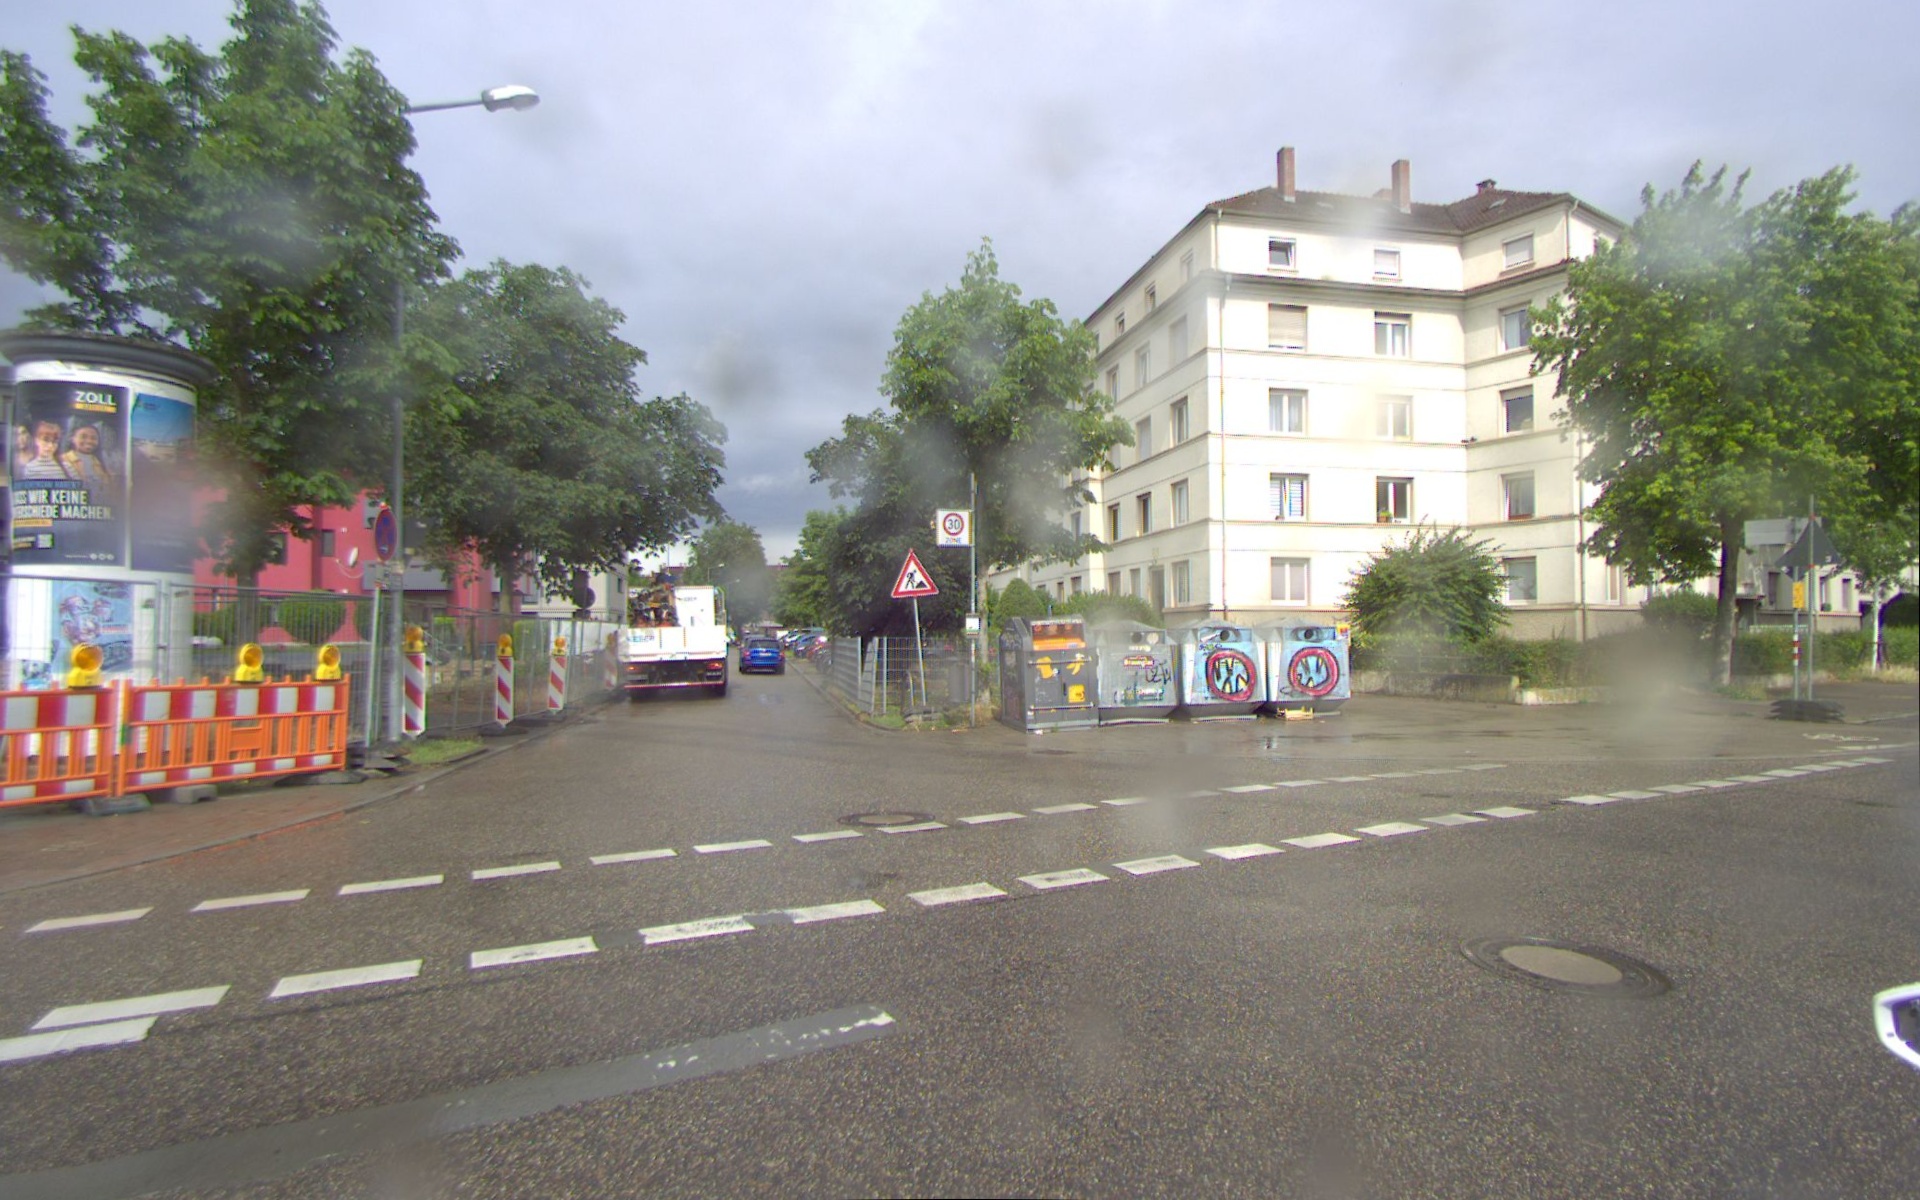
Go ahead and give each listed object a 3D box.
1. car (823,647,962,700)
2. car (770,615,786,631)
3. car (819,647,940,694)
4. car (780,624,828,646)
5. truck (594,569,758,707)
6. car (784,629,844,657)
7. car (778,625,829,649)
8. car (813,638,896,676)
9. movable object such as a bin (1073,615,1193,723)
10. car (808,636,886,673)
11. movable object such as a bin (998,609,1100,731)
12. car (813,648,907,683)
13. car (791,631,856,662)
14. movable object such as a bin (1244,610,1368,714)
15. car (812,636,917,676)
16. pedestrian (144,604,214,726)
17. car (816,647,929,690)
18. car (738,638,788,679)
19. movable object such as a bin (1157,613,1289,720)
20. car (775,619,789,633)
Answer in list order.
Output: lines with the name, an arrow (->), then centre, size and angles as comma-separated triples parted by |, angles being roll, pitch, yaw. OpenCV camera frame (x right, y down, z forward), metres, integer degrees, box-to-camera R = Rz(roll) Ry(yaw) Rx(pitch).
car -> -2.079, 2.209, 30.413 | 4.049, 1.461, 1.701 | -1, -3, -10
car -> -21.872, 2.753, 121.004 | 1.814, 1.817, 3.994 | 0, -3, -10
car -> -2.814, 2.415, 34.710 | 4.049, 1.461, 1.701 | -1, -3, -10
car -> -12.730, 2.850, 81.971 | 3.763, 1.732, 1.817 | 0, -3, -10
truck -> -8.074, 1.108, 28.625 | 3.730, 3.226, 9.814 | 0, -3, -16
car -> -9.335, 2.771, 64.222 | 3.763, 1.732, 1.817 | 0, -3, -10
car -> -11.835, 2.830, 75.966 | 3.763, 1.732, 1.817 | 0, -3, -10
car -> -4.986, 2.677, 47.326 | 3.763, 1.732, 1.817 | 0, -3, -10
movable object such as a bin -> 2.858, 1.118, 16.796 | 1.501, 1.678, 1.540 | -1, -2, -11
car -> -5.645, 2.694, 49.847 | 3.763, 1.732, 1.817 | 0, -3, -10
movable object such as a bin -> 1.417, 1.106, 16.322 | 1.241, 1.848, 1.540 | -1, -2, -11
car -> -4.522, 2.930, 45.135 | 4.049, 1.461, 1.701 | -1, -3, -10
car -> -8.127, 2.748, 59.691 | 3.763, 1.732, 1.817 | 0, -3, -10
movable object such as a bin -> 5.976, 1.059, 17.468 | 1.433, 1.684, 1.540 | -1, -2, -11
car -> -3.865, 2.243, 40.246 | 4.049, 1.461, 1.701 | -1, -3, -10
pedestrian -> -10.819, 0.889, 13.937 | 0.541, 1.641, 0.619 | 0, -2, -15
car -> -3.271, 2.510, 37.185 | 4.049, 1.461, 1.701 | -1, -3, -10
car -> -8.090, 2.362, 41.062 | 1.638, 1.605, 3.497 | 0, -3, -17
movable object such as a bin -> 4.444, 1.100, 17.130 | 1.636, 1.696, 1.540 | -1, -2, -11
car -> -23.609, 3.493, 133.568 | 1.814, 1.817, 3.994 | 0, -3, -10
